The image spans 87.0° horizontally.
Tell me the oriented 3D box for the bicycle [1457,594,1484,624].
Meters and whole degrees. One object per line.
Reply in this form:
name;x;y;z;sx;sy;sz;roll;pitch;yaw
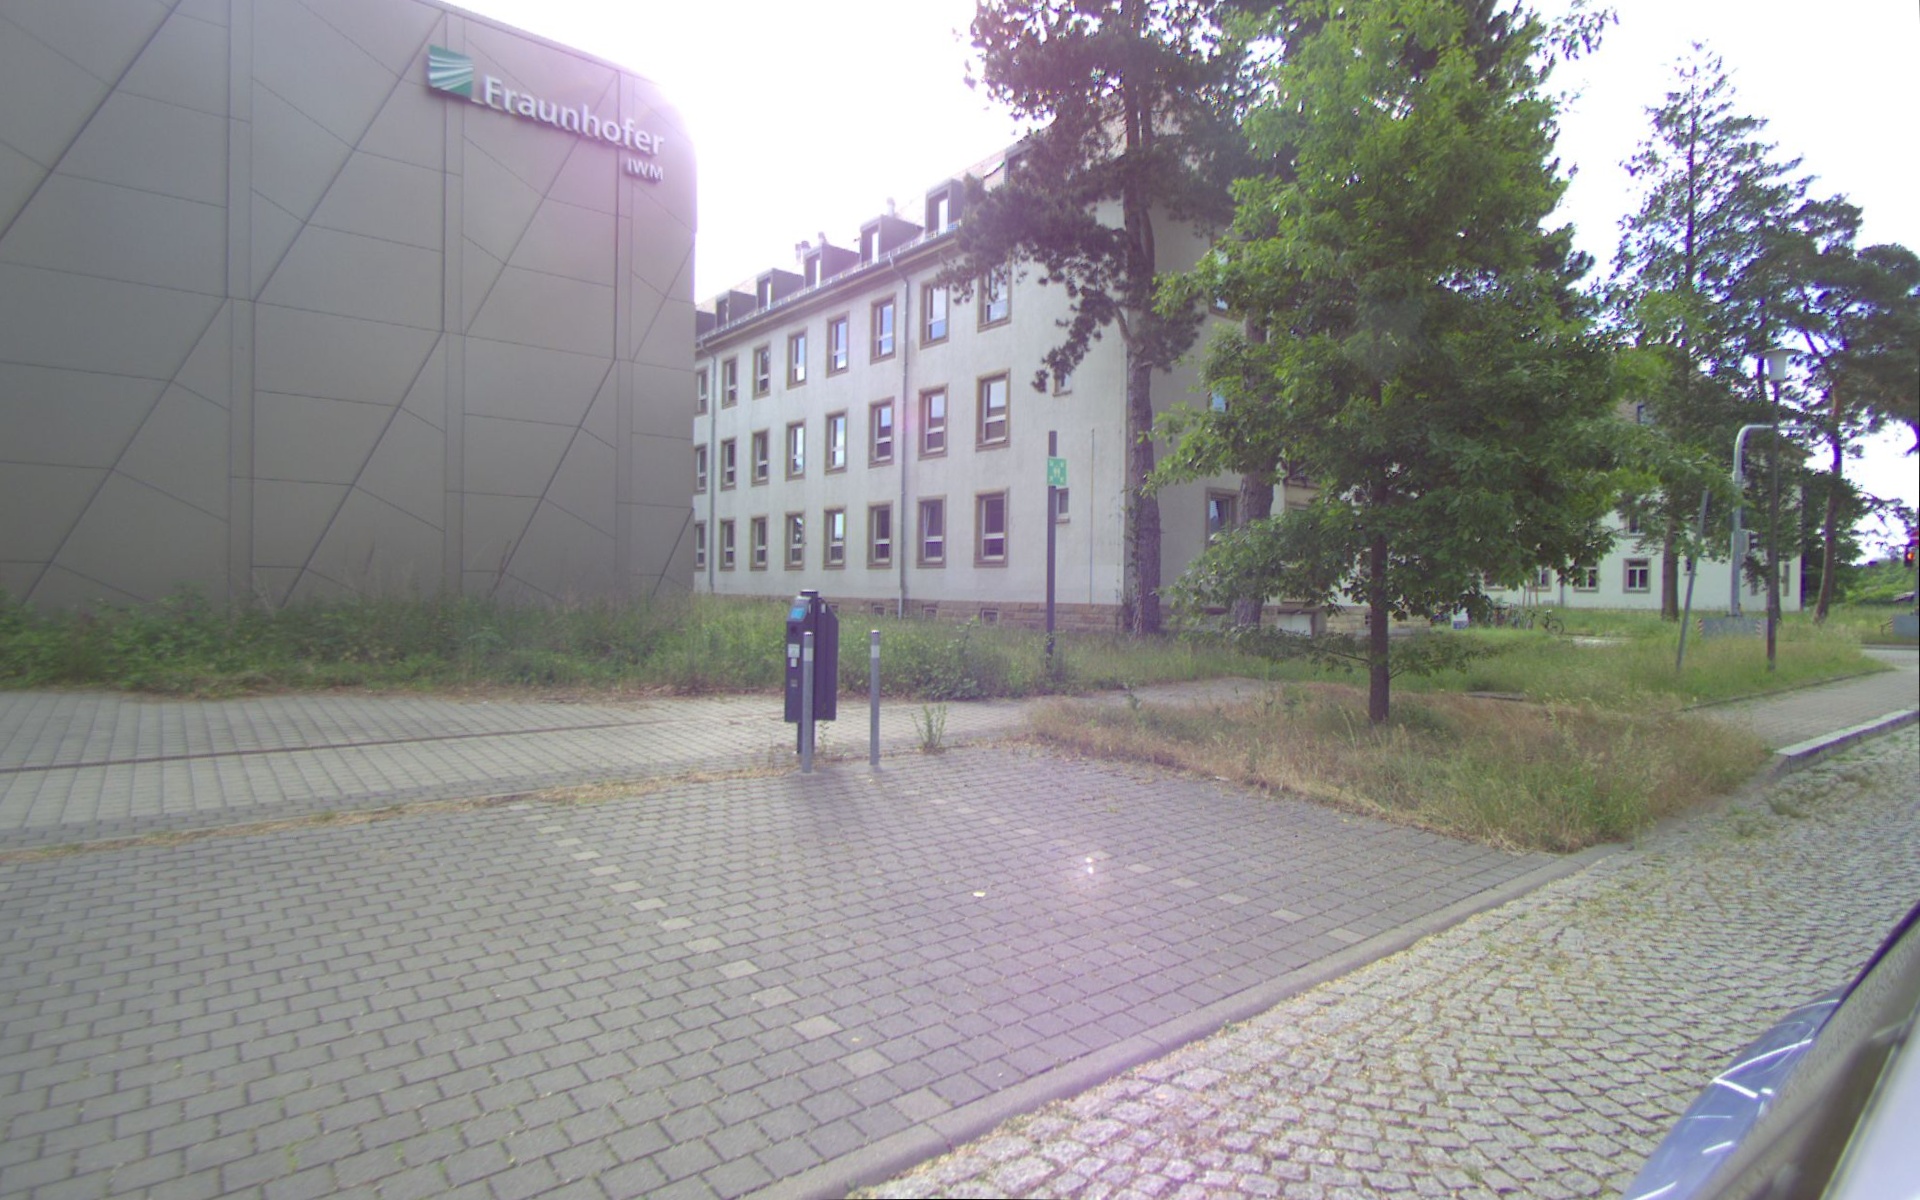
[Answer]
bicycle;23.427;0.404;46.450;1.808;1.349;0.571;0;0;-45

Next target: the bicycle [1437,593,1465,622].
bicycle;22.852;0.345;47.082;1.808;1.349;0.571;0;0;-45

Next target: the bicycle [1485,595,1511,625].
bicycle;24.216;0.441;45.549;1.808;1.349;0.481;0;0;-45

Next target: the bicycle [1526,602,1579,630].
bicycle;24.800;0.644;42.362;0.562;1.098;1.838;-2;2;-35

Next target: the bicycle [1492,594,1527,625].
bicycle;24.519;0.437;45.154;1.801;1.349;0.573;1;0;-32

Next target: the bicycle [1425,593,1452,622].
bicycle;22.478;0.350;47.506;1.808;1.349;0.571;0;0;-45

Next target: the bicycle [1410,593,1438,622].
bicycle;22.064;0.357;48.101;1.808;1.349;0.571;0;0;-45

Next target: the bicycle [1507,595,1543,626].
bicycle;24.998;0.453;44.738;1.801;1.349;0.573;1;0;-32

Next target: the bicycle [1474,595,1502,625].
bicycle;23.953;0.445;45.894;1.808;1.349;0.571;0;0;-45
